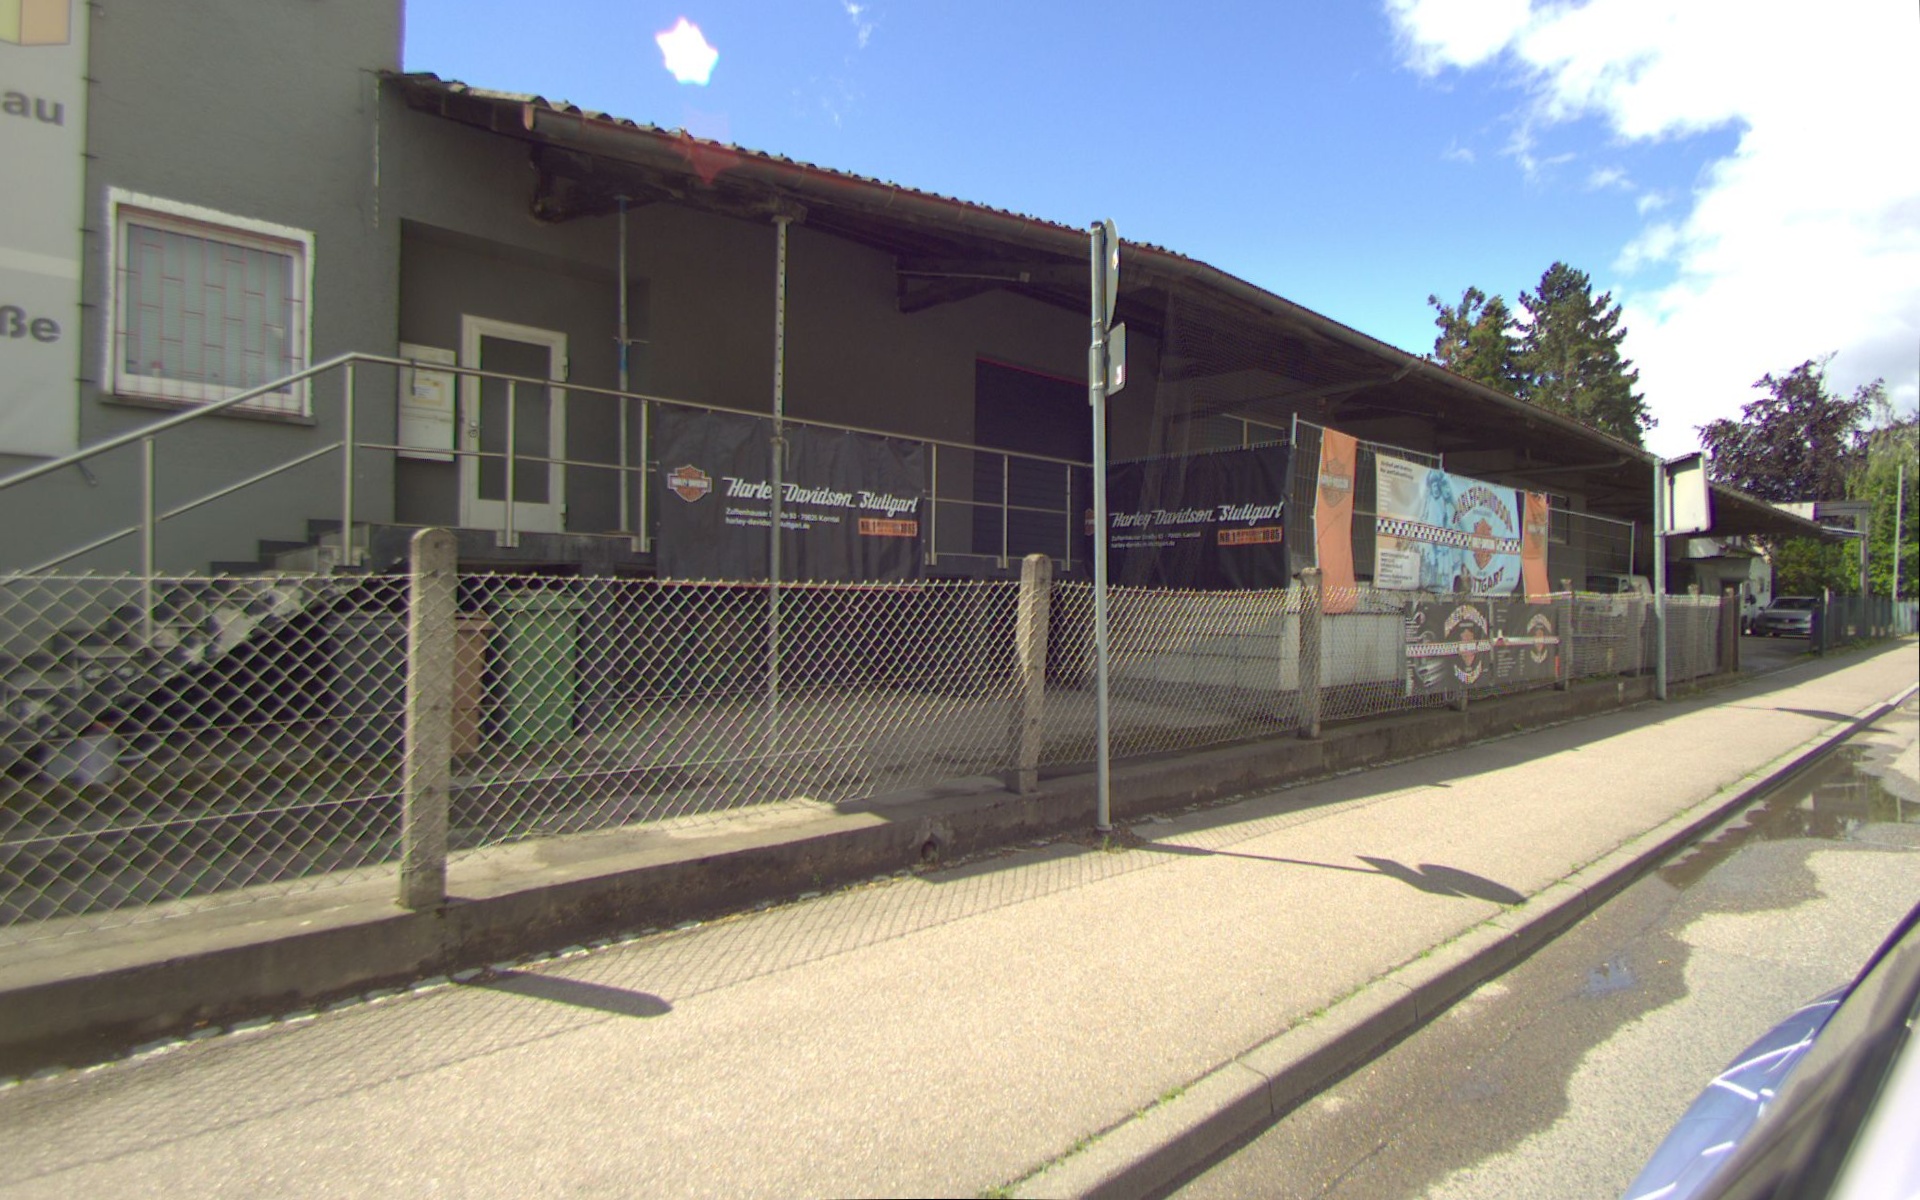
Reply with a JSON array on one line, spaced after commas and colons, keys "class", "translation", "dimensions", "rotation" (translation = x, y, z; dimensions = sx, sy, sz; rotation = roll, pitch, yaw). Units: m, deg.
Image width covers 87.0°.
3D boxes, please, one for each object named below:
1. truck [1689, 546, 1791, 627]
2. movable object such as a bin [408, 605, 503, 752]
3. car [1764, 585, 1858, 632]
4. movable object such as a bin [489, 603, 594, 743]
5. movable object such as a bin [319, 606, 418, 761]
[{"class": "truck", "translation": [29.523, -0.500, 38.243], "dimensions": [5.112, 2.864, 2.089], "rotation": [-1, 0, -41]}, {"class": "movable object such as a bin", "translation": [-3.429, 0.506, 6.874], "dimensions": [0.466, 0.942, 0.482], "rotation": [0, 0, -42]}, {"class": "car", "translation": [29.870, 0.240, 35.454], "dimensions": [5.114, 1.549, 1.860], "rotation": [-1, 1, -42]}, {"class": "movable object such as a bin", "translation": [-3.005, 0.501, 7.265], "dimensions": [0.574, 0.942, 0.482], "rotation": [0, 0, -42]}, {"class": "movable object such as a bin", "translation": [-3.813, 0.512, 6.523], "dimensions": [0.466, 0.942, 0.482], "rotation": [0, 0, -42]}]
